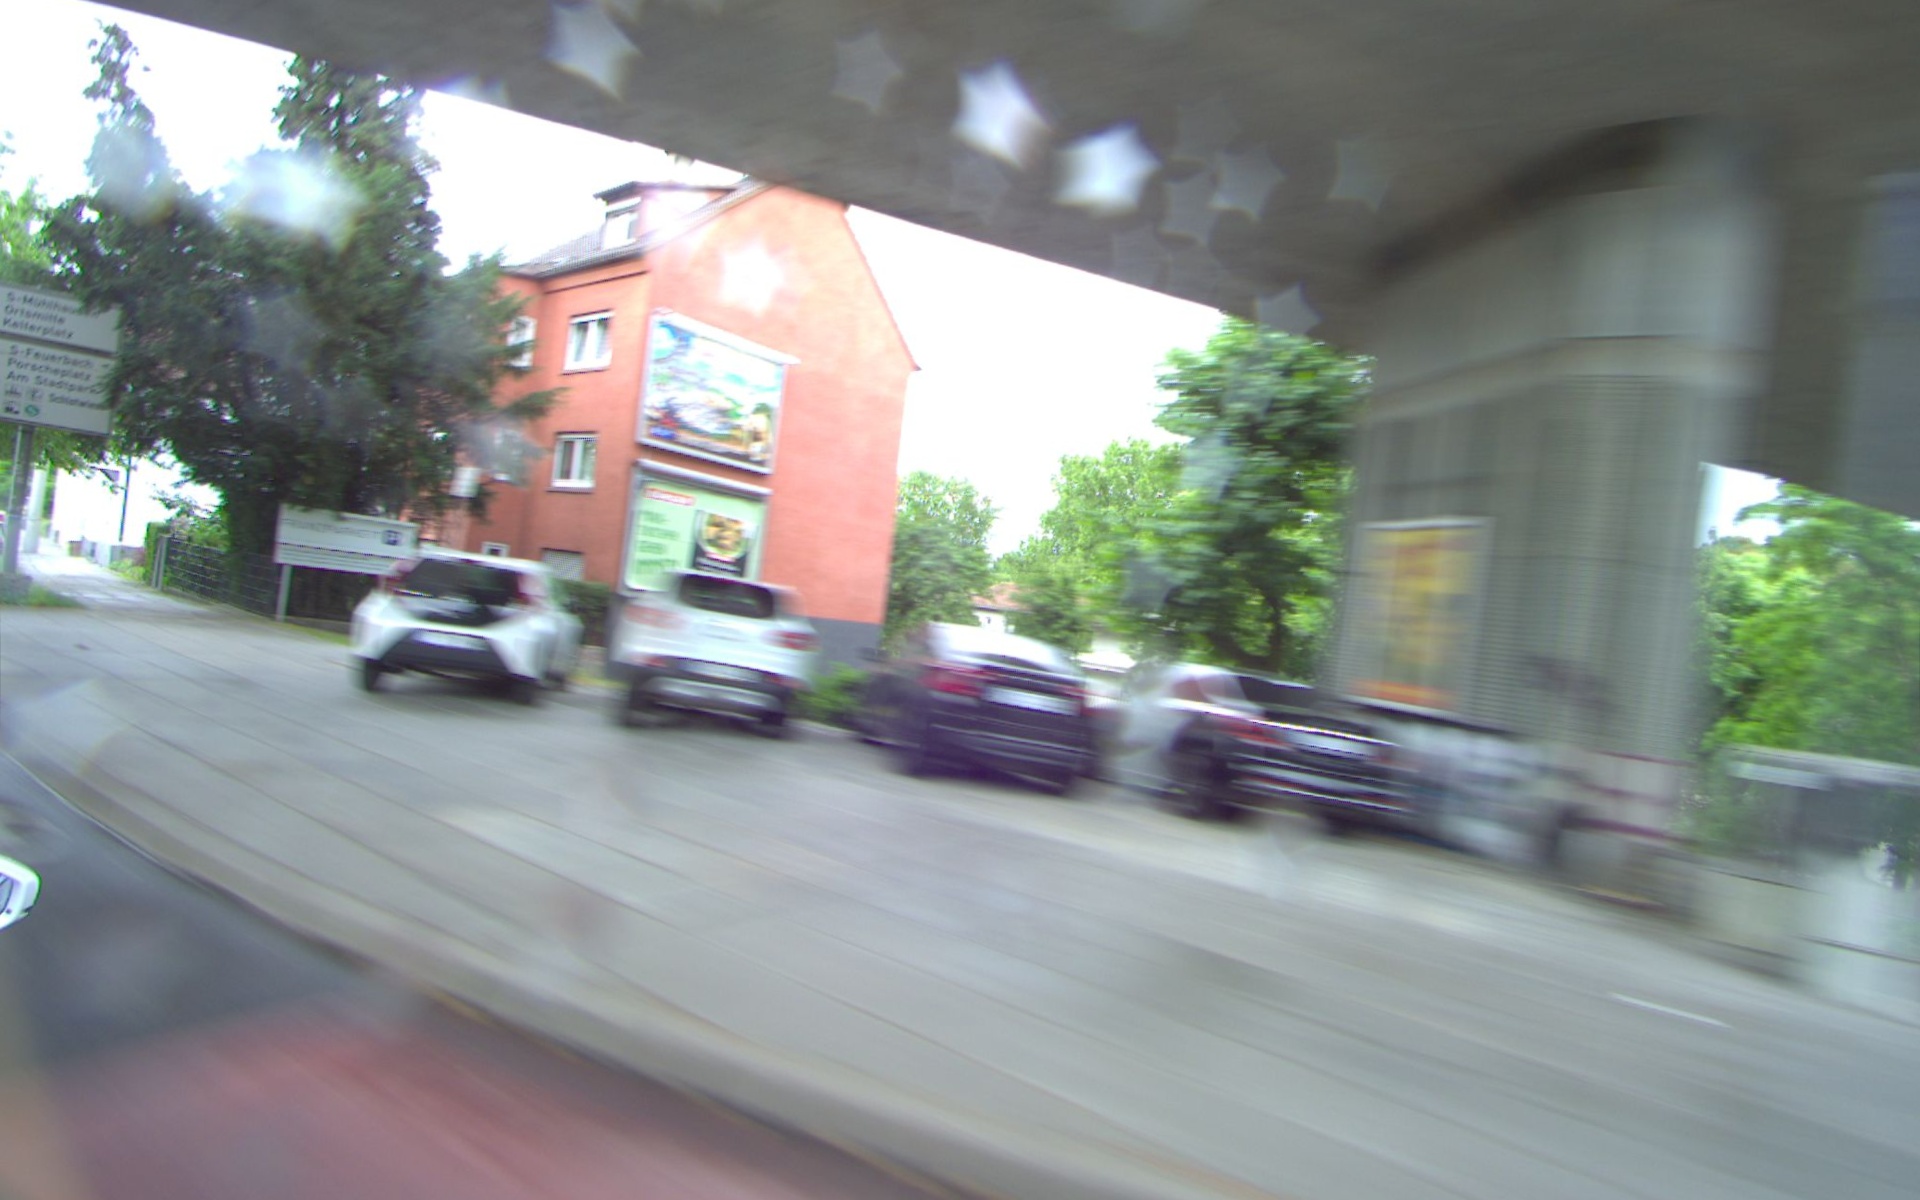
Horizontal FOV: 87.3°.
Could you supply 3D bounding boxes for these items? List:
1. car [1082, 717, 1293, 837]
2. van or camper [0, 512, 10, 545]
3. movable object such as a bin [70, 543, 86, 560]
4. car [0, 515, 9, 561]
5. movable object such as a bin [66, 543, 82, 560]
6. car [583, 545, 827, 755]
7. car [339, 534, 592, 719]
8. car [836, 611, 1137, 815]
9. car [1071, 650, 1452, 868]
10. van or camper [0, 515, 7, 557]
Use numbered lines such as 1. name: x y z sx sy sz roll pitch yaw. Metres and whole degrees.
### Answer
1. car: 4.230 3.228 18.289 1.972 1.612 3.990 7 -5 40
2. van or camper: -79.998 -6.084 82.911 5.965 2.592 1.991 6 -3 45
3. movable object such as a bin: -50.363 -2.767 57.460 0.442 0.890 0.585 5 -2 44
4. car: -32.308 -2.153 32.847 1.673 1.438 4.510 10 -4 -43
5. movable object such as a bin: -50.785 -2.795 57.691 0.442 0.890 0.585 5 -2 44
6. car: -2.824 0.483 10.970 1.938 1.649 4.012 8 -2 -16
7. car: -5.330 0.276 11.369 1.776 1.539 3.725 8 -2 -16
8. car: 0.023 0.987 10.291 1.761 1.455 4.038 9 -2 -16
9. car: 2.824 1.465 10.477 1.876 1.588 3.994 8 -4 -14
10. van or camper: -47.329 -3.211 48.447 1.846 1.942 4.933 8 -2 -44
